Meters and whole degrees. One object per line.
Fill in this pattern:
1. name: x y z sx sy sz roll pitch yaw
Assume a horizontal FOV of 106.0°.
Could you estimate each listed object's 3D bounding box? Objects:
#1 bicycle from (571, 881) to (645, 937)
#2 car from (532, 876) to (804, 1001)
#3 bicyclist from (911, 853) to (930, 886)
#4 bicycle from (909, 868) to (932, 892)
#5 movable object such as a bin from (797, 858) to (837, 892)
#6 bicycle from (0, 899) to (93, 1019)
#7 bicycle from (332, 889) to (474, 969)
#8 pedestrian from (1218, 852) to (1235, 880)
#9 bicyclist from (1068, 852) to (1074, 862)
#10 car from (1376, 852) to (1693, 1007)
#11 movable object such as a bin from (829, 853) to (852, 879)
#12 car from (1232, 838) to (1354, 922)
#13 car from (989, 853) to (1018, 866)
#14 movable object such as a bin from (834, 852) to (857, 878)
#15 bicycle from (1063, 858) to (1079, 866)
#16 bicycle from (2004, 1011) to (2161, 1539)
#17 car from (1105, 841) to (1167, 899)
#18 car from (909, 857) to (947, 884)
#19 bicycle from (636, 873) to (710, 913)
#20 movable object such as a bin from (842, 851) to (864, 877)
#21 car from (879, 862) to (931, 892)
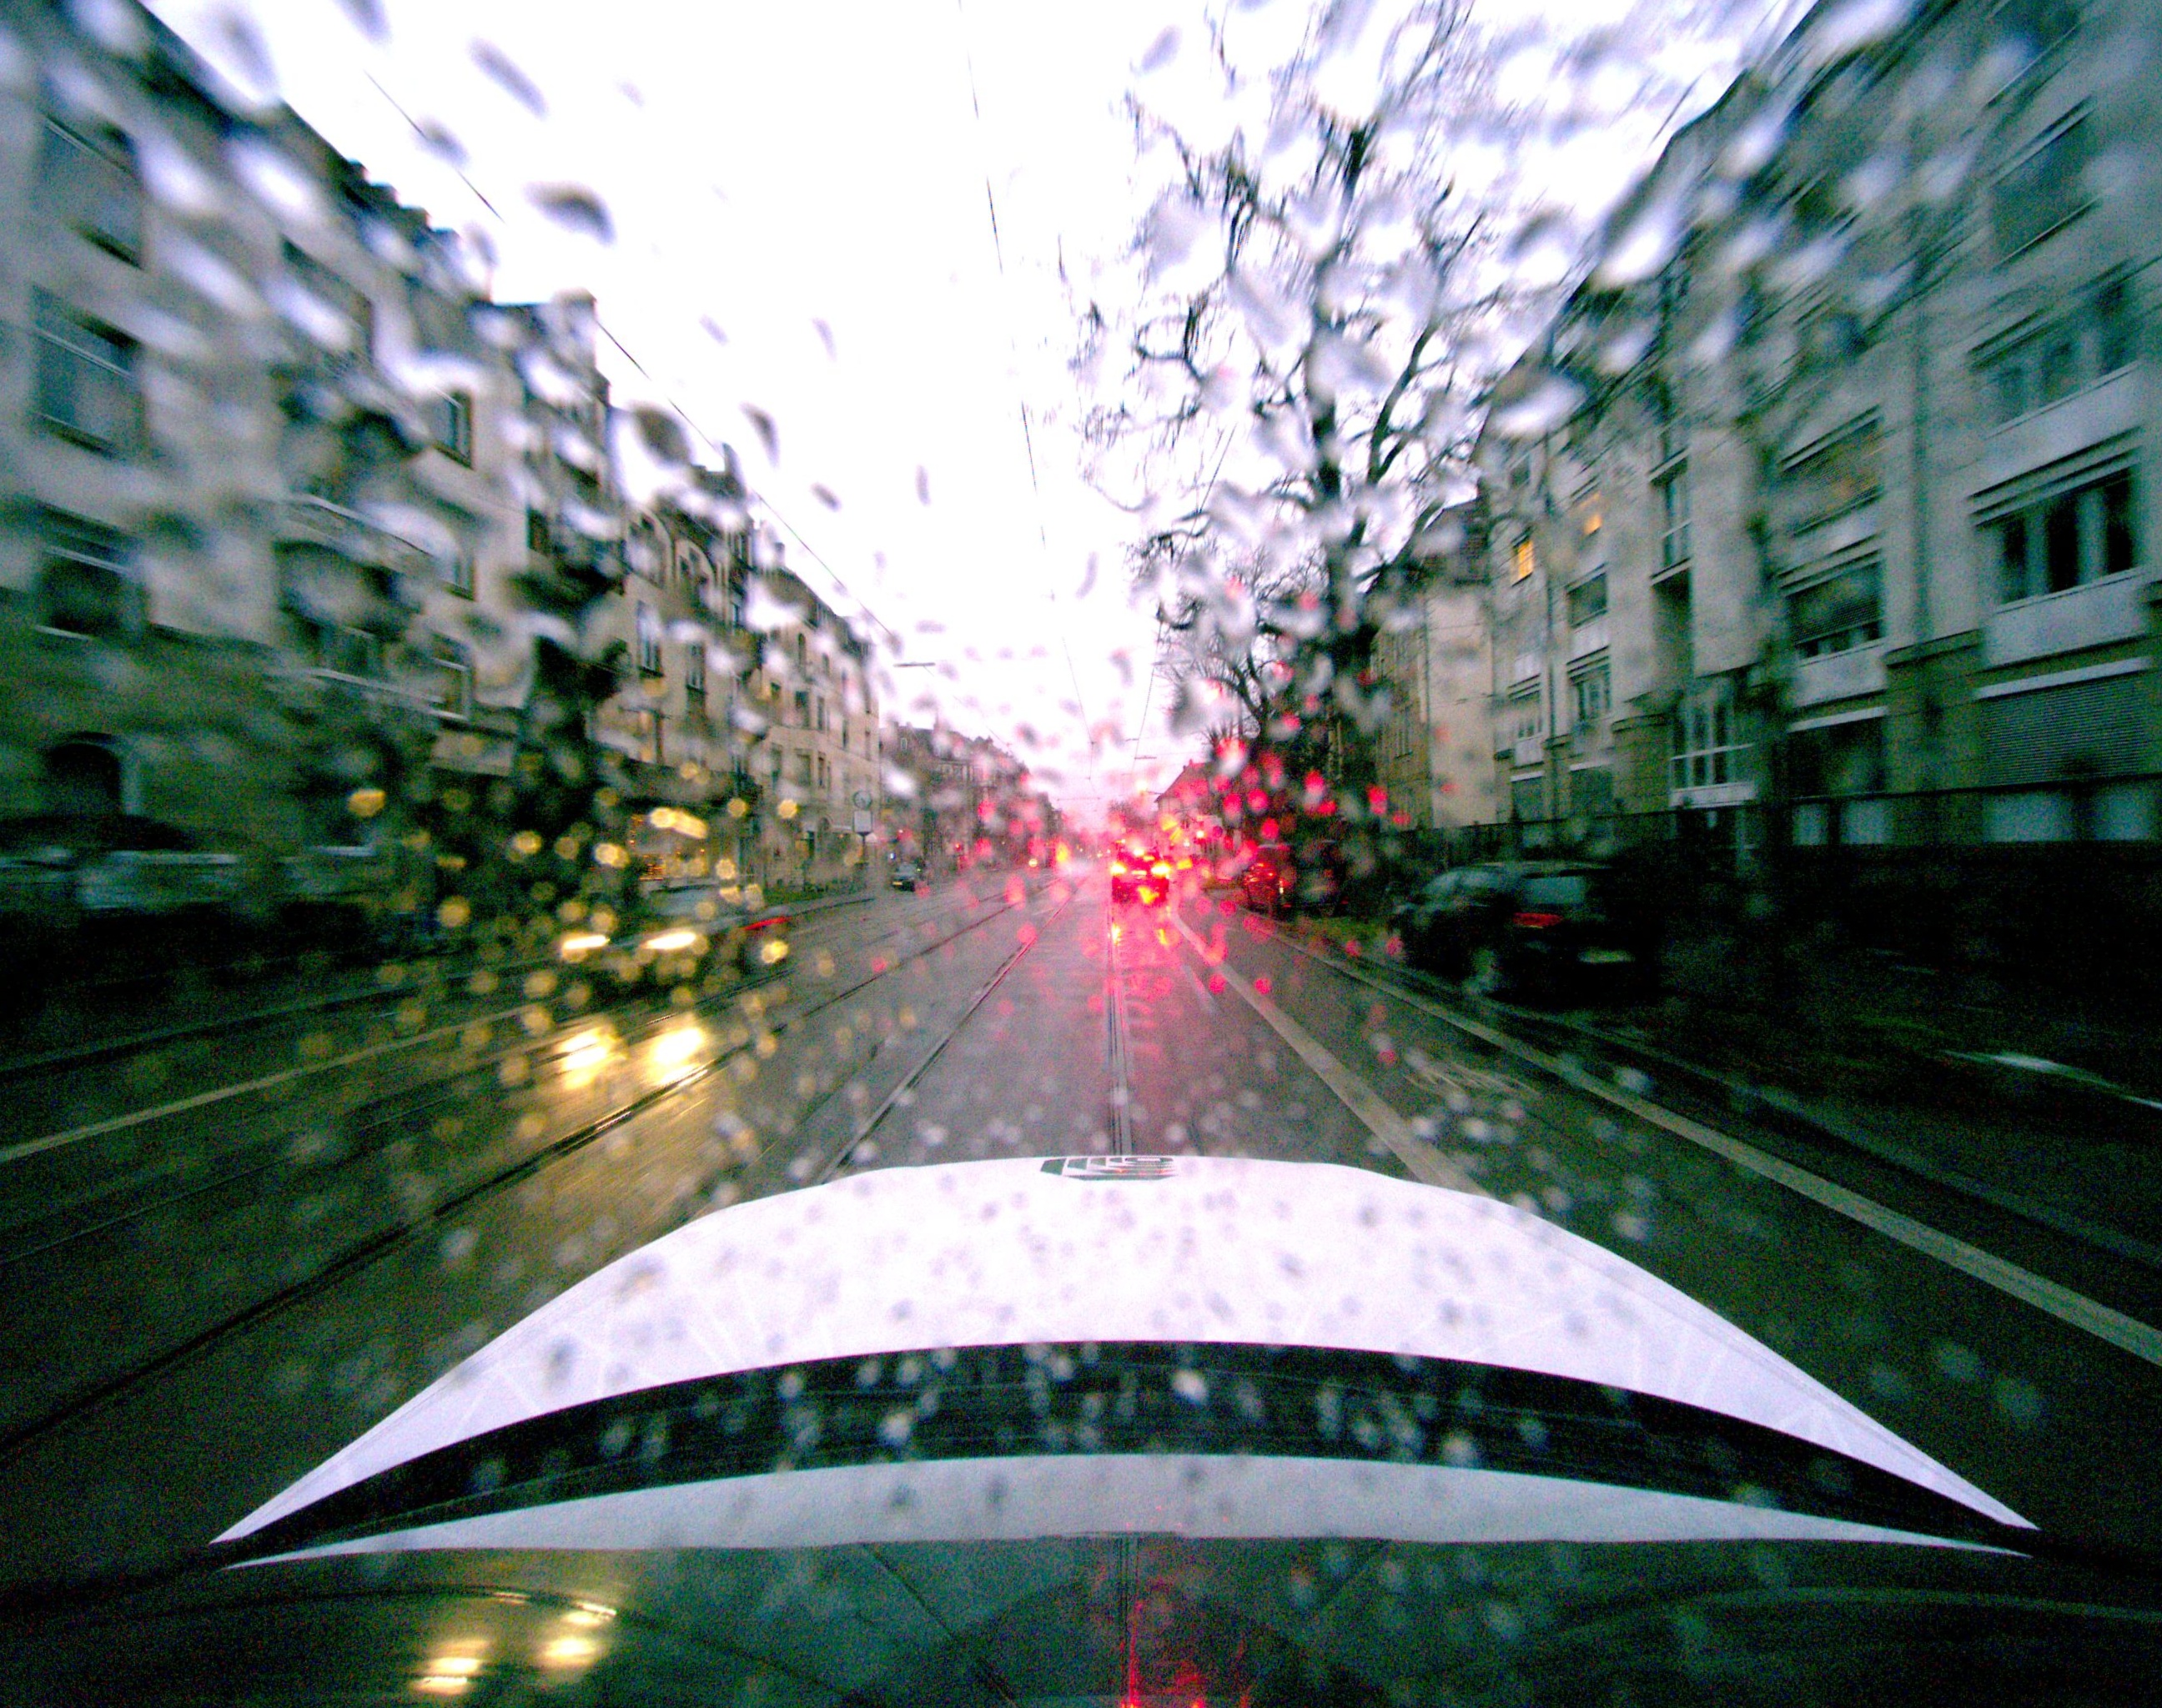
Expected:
1. bicycle: -10.441 1.184 18.037 0.613 1.080 1.809 -2 1 -3
2. car: -5.270 0.994 11.039 1.655 1.198 3.874 -2 1 0
3. bicyclist: -8.076 0.756 41.060 0.714 1.602 0.931 -2 0 0
4. bicycle: -8.047 1.300 40.958 0.714 1.110 2.065 -2 1 1
5. movable object such as a bin: -12.745 1.016 39.366 1.404 1.530 1.365 -2 0 1
6. bicycle: -10.532 1.028 7.494 0.484 1.099 1.931 -2 0 0
7. bicycle: -10.369 1.113 12.547 0.623 1.017 1.805 -2 0 0
8. pedestrian: 10.796 0.908 60.460 1.019 2.013 0.919 -2 0 -2
9. bicyclist: -1.414 0.481 116.639 0.823 1.376 0.555 -2 0 -12
10. car: 5.179 0.736 10.013 1.671 1.460 4.043 -2 0 1
11. movable object such as a bin: -14.869 0.736 50.360 1.009 1.600 1.082 -2 0 4
12. car: 5.453 0.581 21.694 1.986 1.900 5.028 -2 1 1
13. car: -10.903 0.800 114.618 3.983 1.717 1.899 -2 1 -7
14. movable object such as a bin: -14.894 0.670 51.597 1.009 1.600 1.156 -2 0 4
15. bicycle: -1.449 1.169 116.623 2.106 1.133 0.555 -2 0 -13
16. bicycle: 2.663 0.963 1.067 0.704 1.096 2.032 -2 1 5
17. car: 1.908 0.565 29.355 1.986 1.897 4.759 0 -1 1
18. car: -9.729 1.015 51.911 1.623 1.550 3.501 -2 1 2
19. bicycle: -11.925 1.135 23.832 1.802 1.080 0.615 -2 0 -6
20. movable object such as a bin: -14.810 0.647 52.822 1.009 1.600 1.082 -2 0 4
21. car: -9.680 1.215 45.034 1.826 1.447 4.002 -2 1 2
